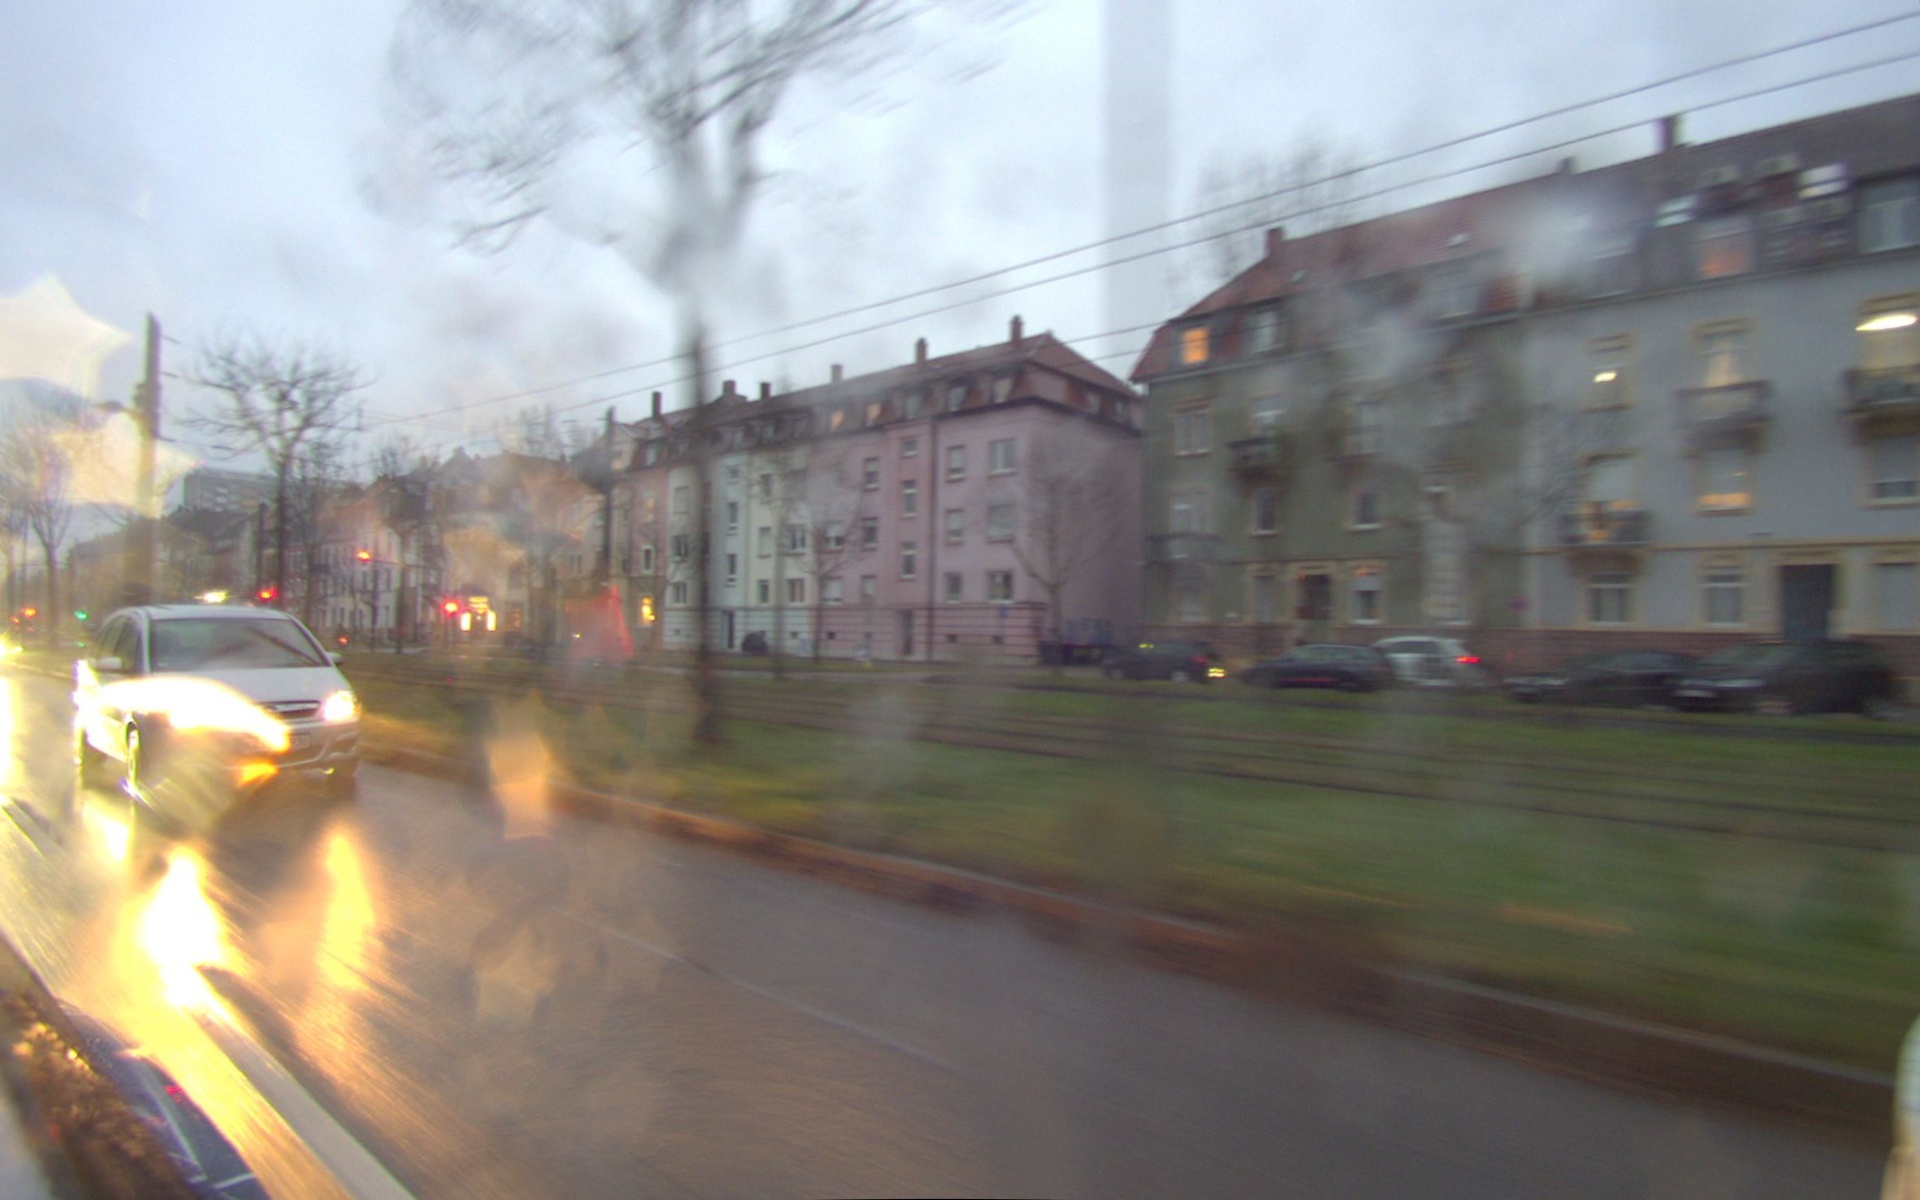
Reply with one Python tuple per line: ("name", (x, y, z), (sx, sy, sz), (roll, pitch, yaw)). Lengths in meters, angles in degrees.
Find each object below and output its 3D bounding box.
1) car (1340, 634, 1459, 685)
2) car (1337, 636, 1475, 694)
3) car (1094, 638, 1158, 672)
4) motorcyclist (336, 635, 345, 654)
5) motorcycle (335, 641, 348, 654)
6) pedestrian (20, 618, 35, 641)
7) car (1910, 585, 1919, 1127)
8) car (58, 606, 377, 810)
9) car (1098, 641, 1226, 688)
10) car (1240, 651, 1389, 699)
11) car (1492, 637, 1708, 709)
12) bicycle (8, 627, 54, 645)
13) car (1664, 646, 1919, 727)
("car", (14.442, 1.915, 33.331), (3.268, 1.541, 1.593), (-1, -1, 42))
("car", (13.584, 1.938, 30.937), (3.537, 1.563, 1.662), (-1, -1, 41))
("car", (8.233, 2.688, 50.049), (1.611, 1.555, 3.317), (-1, -1, 43))
("motorcyclist", (-34.883, 2.518, 56.980), (0.410, 1.069, 0.346), (0, -1, -42))
("motorcycle", (-34.761, 2.650, 56.835), (0.416, 0.688, 1.177), (0, -1, -42))
("pedestrian", (-49.333, 1.548, 53.546), (0.582, 1.165, 0.555), (-1, -1, 44))
("car", (2.986, 0.690, 0.187), (3.999, 1.485, 1.671), (-1, -1, 41))
("car", (-7.090, 0.836, 9.520), (3.905, 1.531, 1.617), (-1, -1, 41))
("car", (6.526, 2.062, 32.916), (3.911, 1.350, 1.449), (-1, -1, 44))
("car", (10.201, 2.124, 29.257), (3.894, 1.177, 1.218), (-1, -1, 38))
("car", (14.559, 1.634, 23.143), (3.888, 1.459, 1.823), (-1, -1, -8))
("bicycle", (-49.259, 1.910, 53.679), (0.733, 0.905, 1.703), (0, -4, 41))
("car", (17.082, 1.714, 20.706), (4.586, 1.443, 1.698), (0, -1, -12))
